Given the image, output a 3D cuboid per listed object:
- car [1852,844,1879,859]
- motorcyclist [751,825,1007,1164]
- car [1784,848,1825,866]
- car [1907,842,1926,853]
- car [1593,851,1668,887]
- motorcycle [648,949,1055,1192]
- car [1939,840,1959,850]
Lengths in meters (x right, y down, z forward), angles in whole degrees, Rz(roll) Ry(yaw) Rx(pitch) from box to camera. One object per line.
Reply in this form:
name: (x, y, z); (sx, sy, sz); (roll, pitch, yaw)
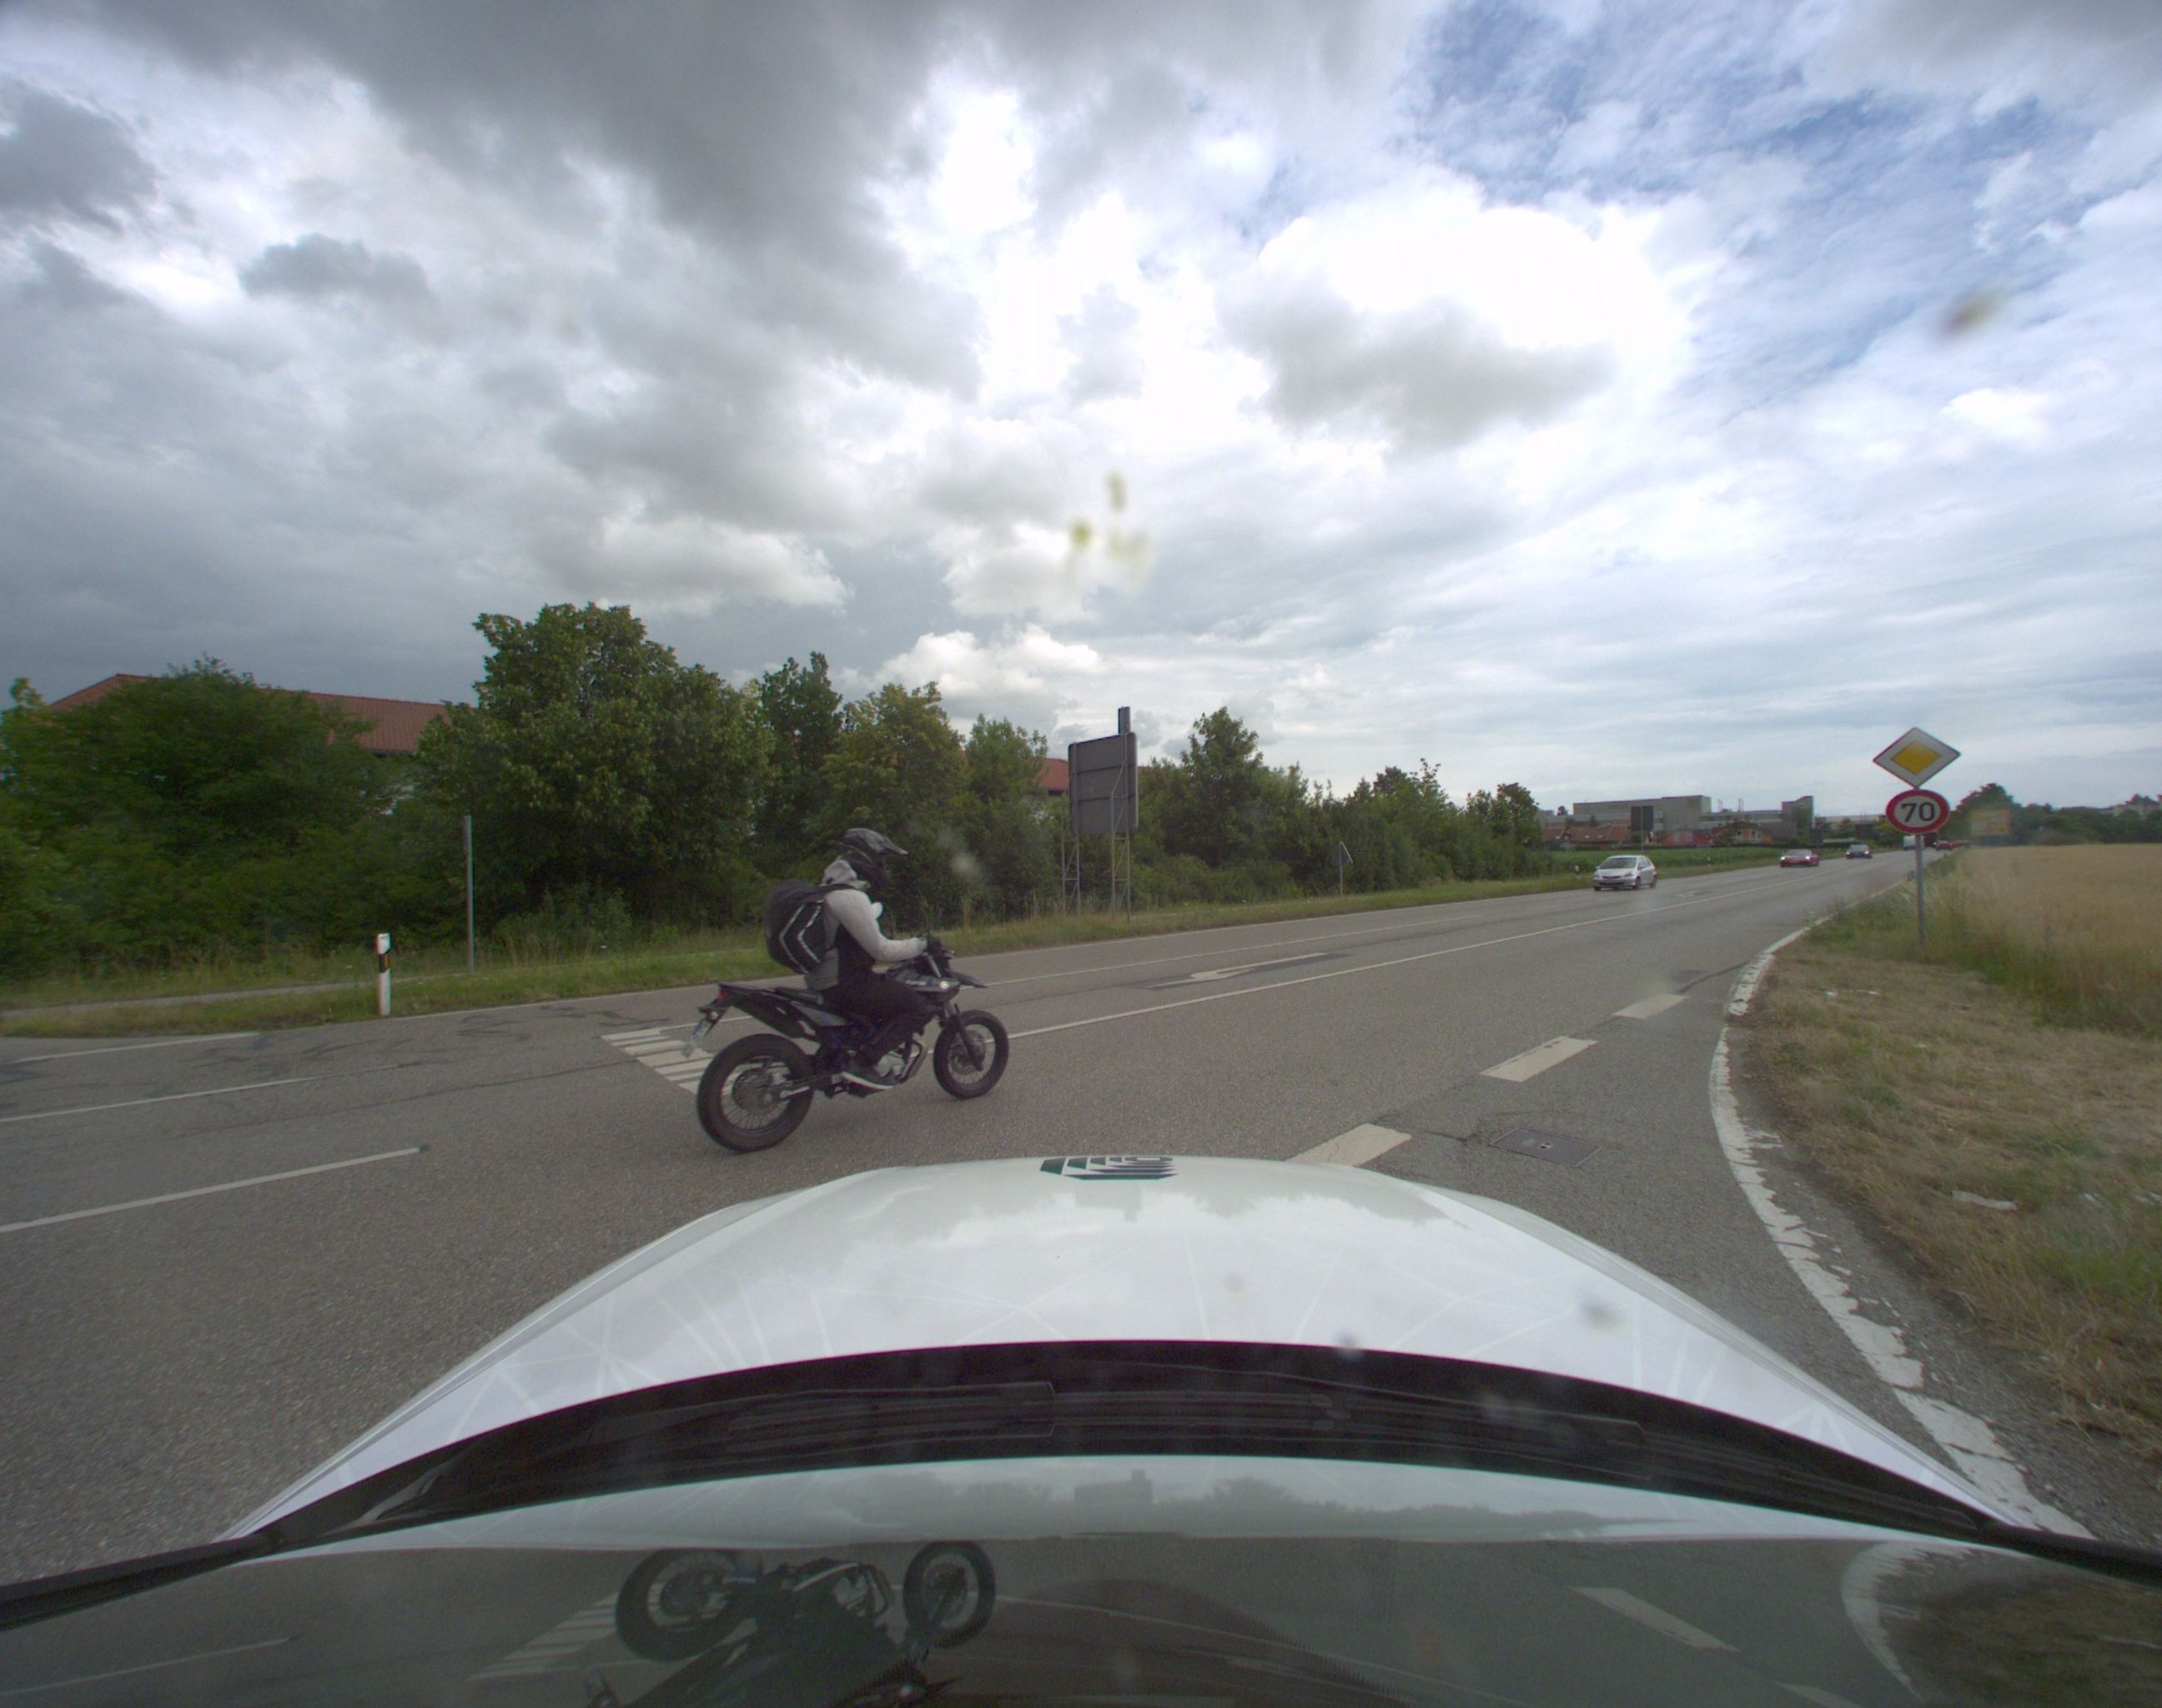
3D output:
car: (82.681, -0.302, 85.840); (4.326, 1.429, 1.654); (-1, -2, -42)
motorcyclist: (-1.225, 0.729, 4.961); (1.207, 1.750, 0.933); (0, -1, -41)
car: (54.409, 0.184, 61.240); (4.234, 1.241, 1.756); (-1, -1, -41)
car: (142.171, -1.098, 138.511); (4.700, 1.699, 1.976); (-1, -1, -41)
car: (23.883, 0.630, 35.338); (3.956, 1.432, 1.714); (-1, -2, -42)
motorcycle: (-1.291, 1.138, 4.891); (2.157, 0.890, 0.933); (-1, -1, -41)
car: (137.778, -1.455, 129.277); (4.020, 1.566, 1.842); (-1, 0, -39)
